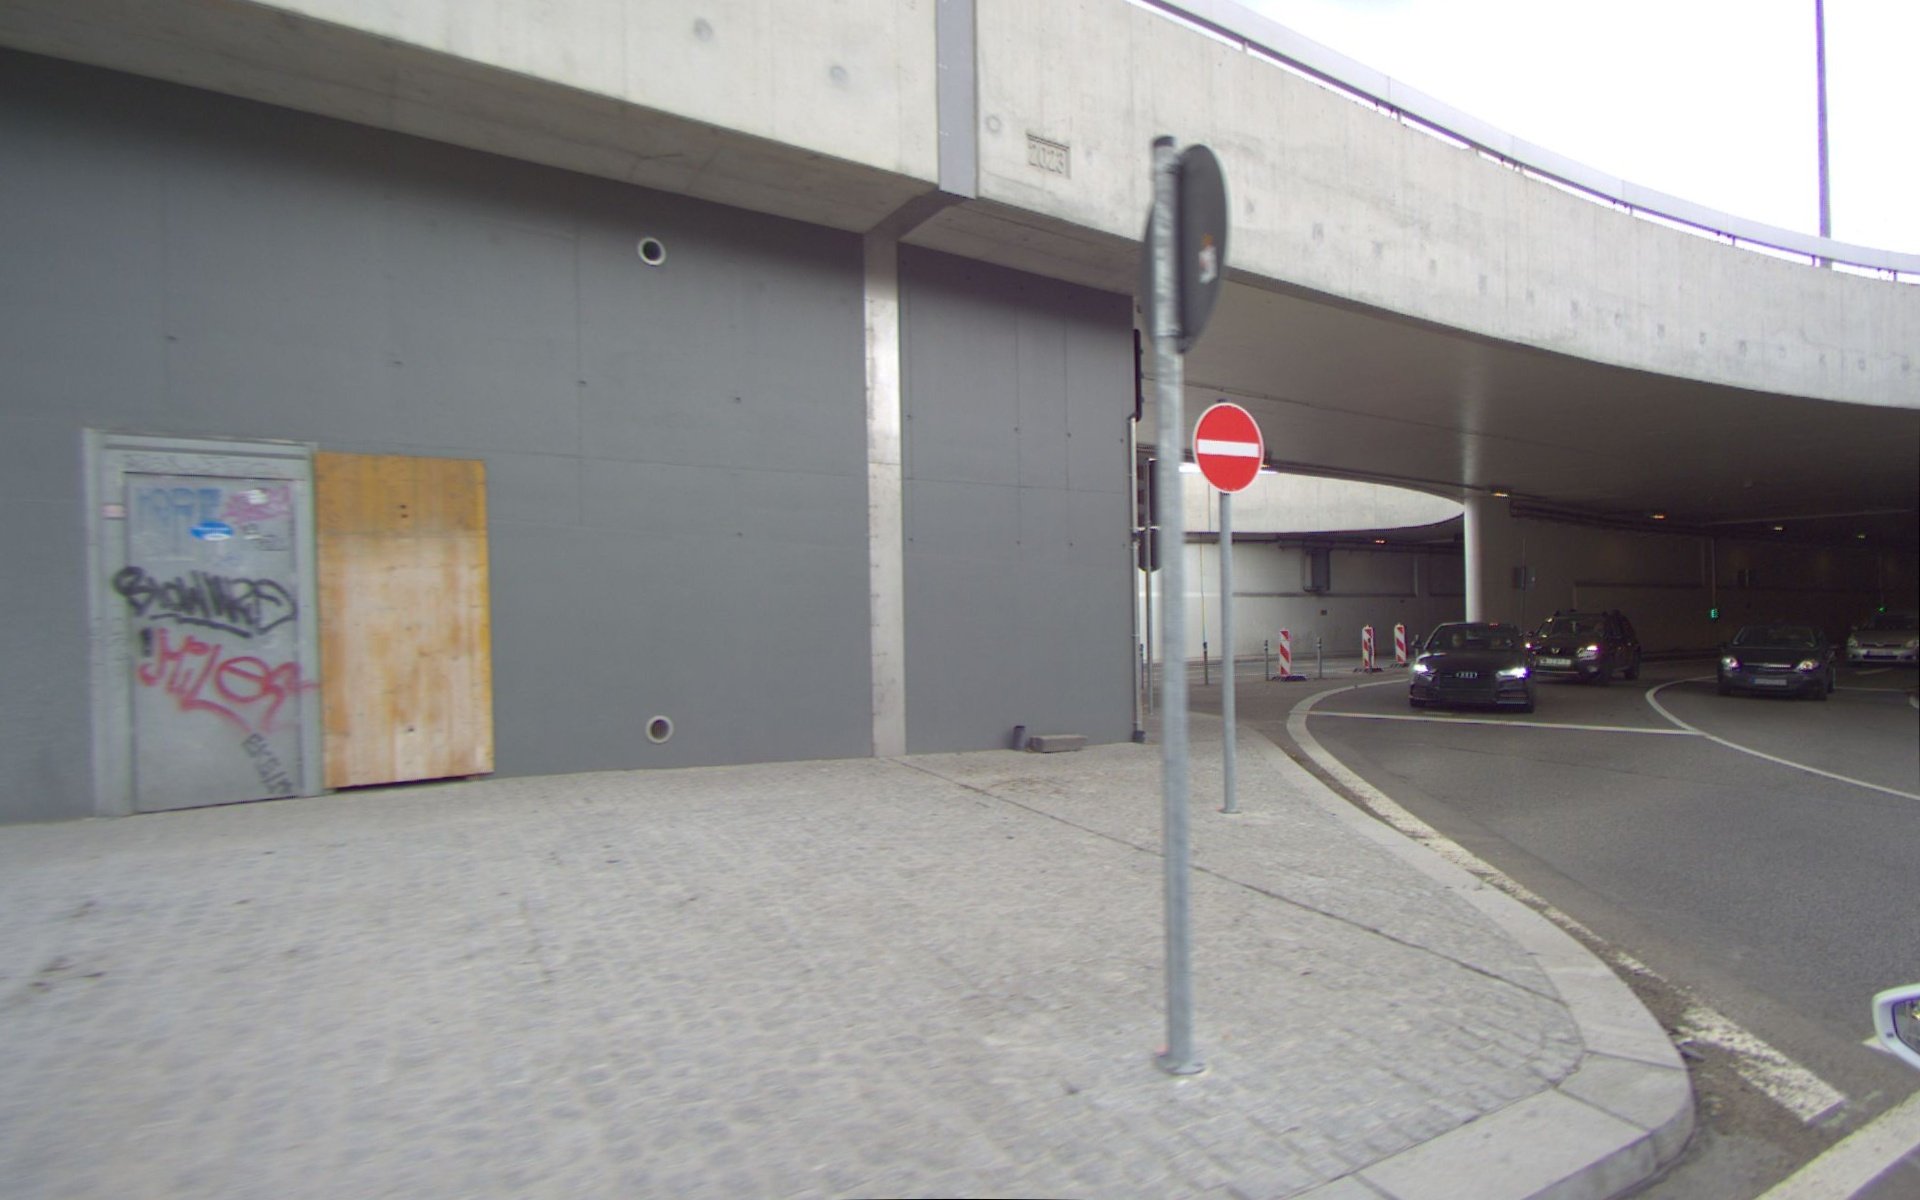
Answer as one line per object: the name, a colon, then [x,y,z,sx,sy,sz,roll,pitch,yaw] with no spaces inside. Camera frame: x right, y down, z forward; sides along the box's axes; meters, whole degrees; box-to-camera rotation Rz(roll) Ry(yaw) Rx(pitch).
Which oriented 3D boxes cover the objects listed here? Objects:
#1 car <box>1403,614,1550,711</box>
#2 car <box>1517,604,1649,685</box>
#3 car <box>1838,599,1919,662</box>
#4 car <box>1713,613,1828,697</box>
car: [9.220,0.983,17.713,1.825,1.462,4.830,-1,-1,33]
car: [14.601,0.953,23.448,1.774,1.621,4.301,2,2,44]
car: [27.157,0.833,28.938,4.740,1.626,1.796,-1,0,-36]
car: [16.258,1.028,20.242,1.644,1.460,4.095,-1,0,38]
